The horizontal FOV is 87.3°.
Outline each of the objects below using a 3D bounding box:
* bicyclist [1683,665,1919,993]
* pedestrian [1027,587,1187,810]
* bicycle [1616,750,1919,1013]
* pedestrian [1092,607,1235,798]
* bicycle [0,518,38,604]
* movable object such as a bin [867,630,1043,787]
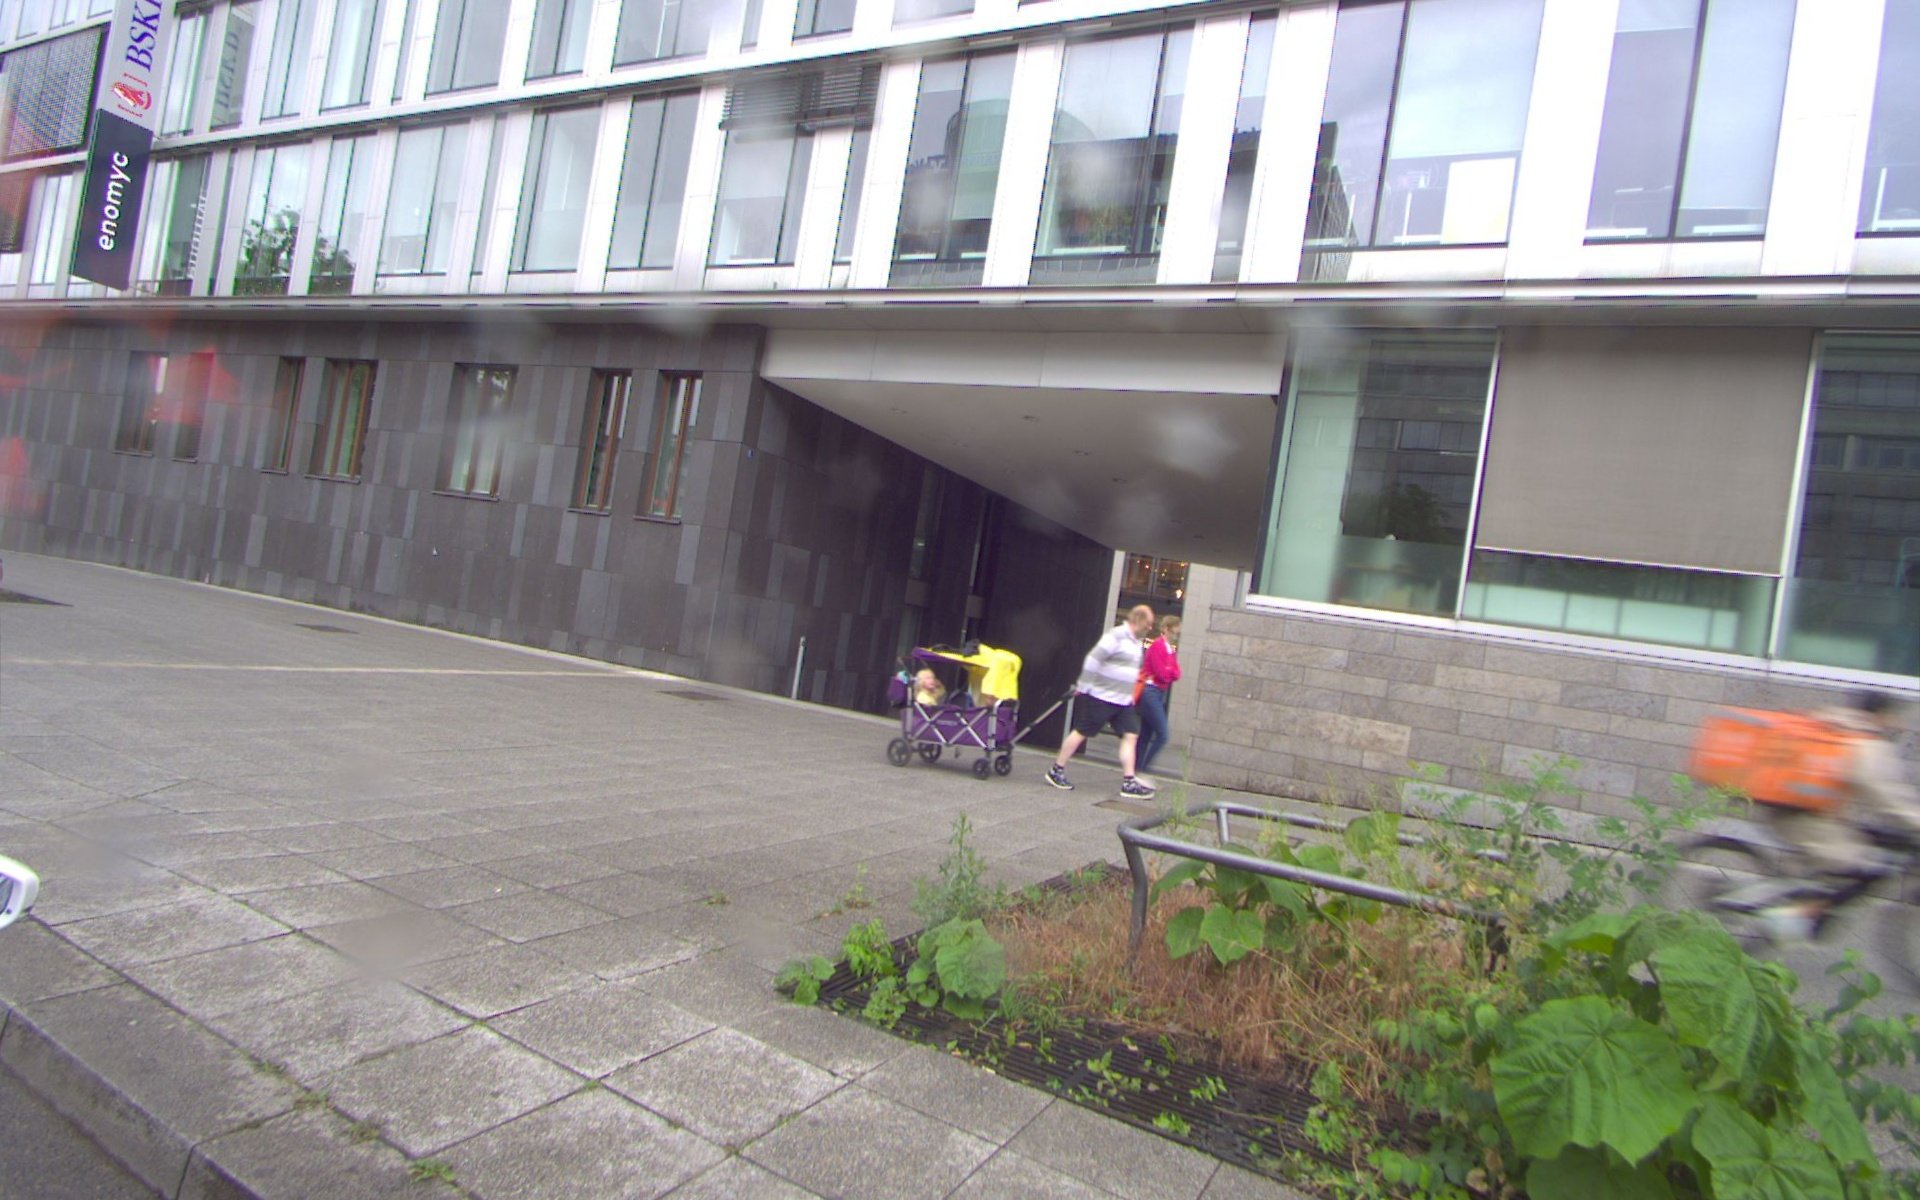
[{"bbox_3d":[5.072,1.266,5.679,1.115,1.598,1.017,9,-4,6],"label":"bicyclist"},{"bbox_3d":[1.362,0.867,9.223,1.028,1.814,0.901,7,1,26],"label":"pedestrian"},{"bbox_3d":[5.090,1.588,5.648,2.028,1.126,1.013,7,-2,6],"label":"bicycle"},{"bbox_3d":[2.054,1.003,10.139,1.080,1.712,0.719,7,1,27],"label":"pedestrian"},{"bbox_3d":[-13.060,-0.632,12.250,0.665,1.069,2.543,7,-2,27],"label":"bicycle"},{"bbox_3d":[-0.053,1.012,9.746,1.420,1.280,0.732,6,0,29],"label":"movable object such as a bin"}]
